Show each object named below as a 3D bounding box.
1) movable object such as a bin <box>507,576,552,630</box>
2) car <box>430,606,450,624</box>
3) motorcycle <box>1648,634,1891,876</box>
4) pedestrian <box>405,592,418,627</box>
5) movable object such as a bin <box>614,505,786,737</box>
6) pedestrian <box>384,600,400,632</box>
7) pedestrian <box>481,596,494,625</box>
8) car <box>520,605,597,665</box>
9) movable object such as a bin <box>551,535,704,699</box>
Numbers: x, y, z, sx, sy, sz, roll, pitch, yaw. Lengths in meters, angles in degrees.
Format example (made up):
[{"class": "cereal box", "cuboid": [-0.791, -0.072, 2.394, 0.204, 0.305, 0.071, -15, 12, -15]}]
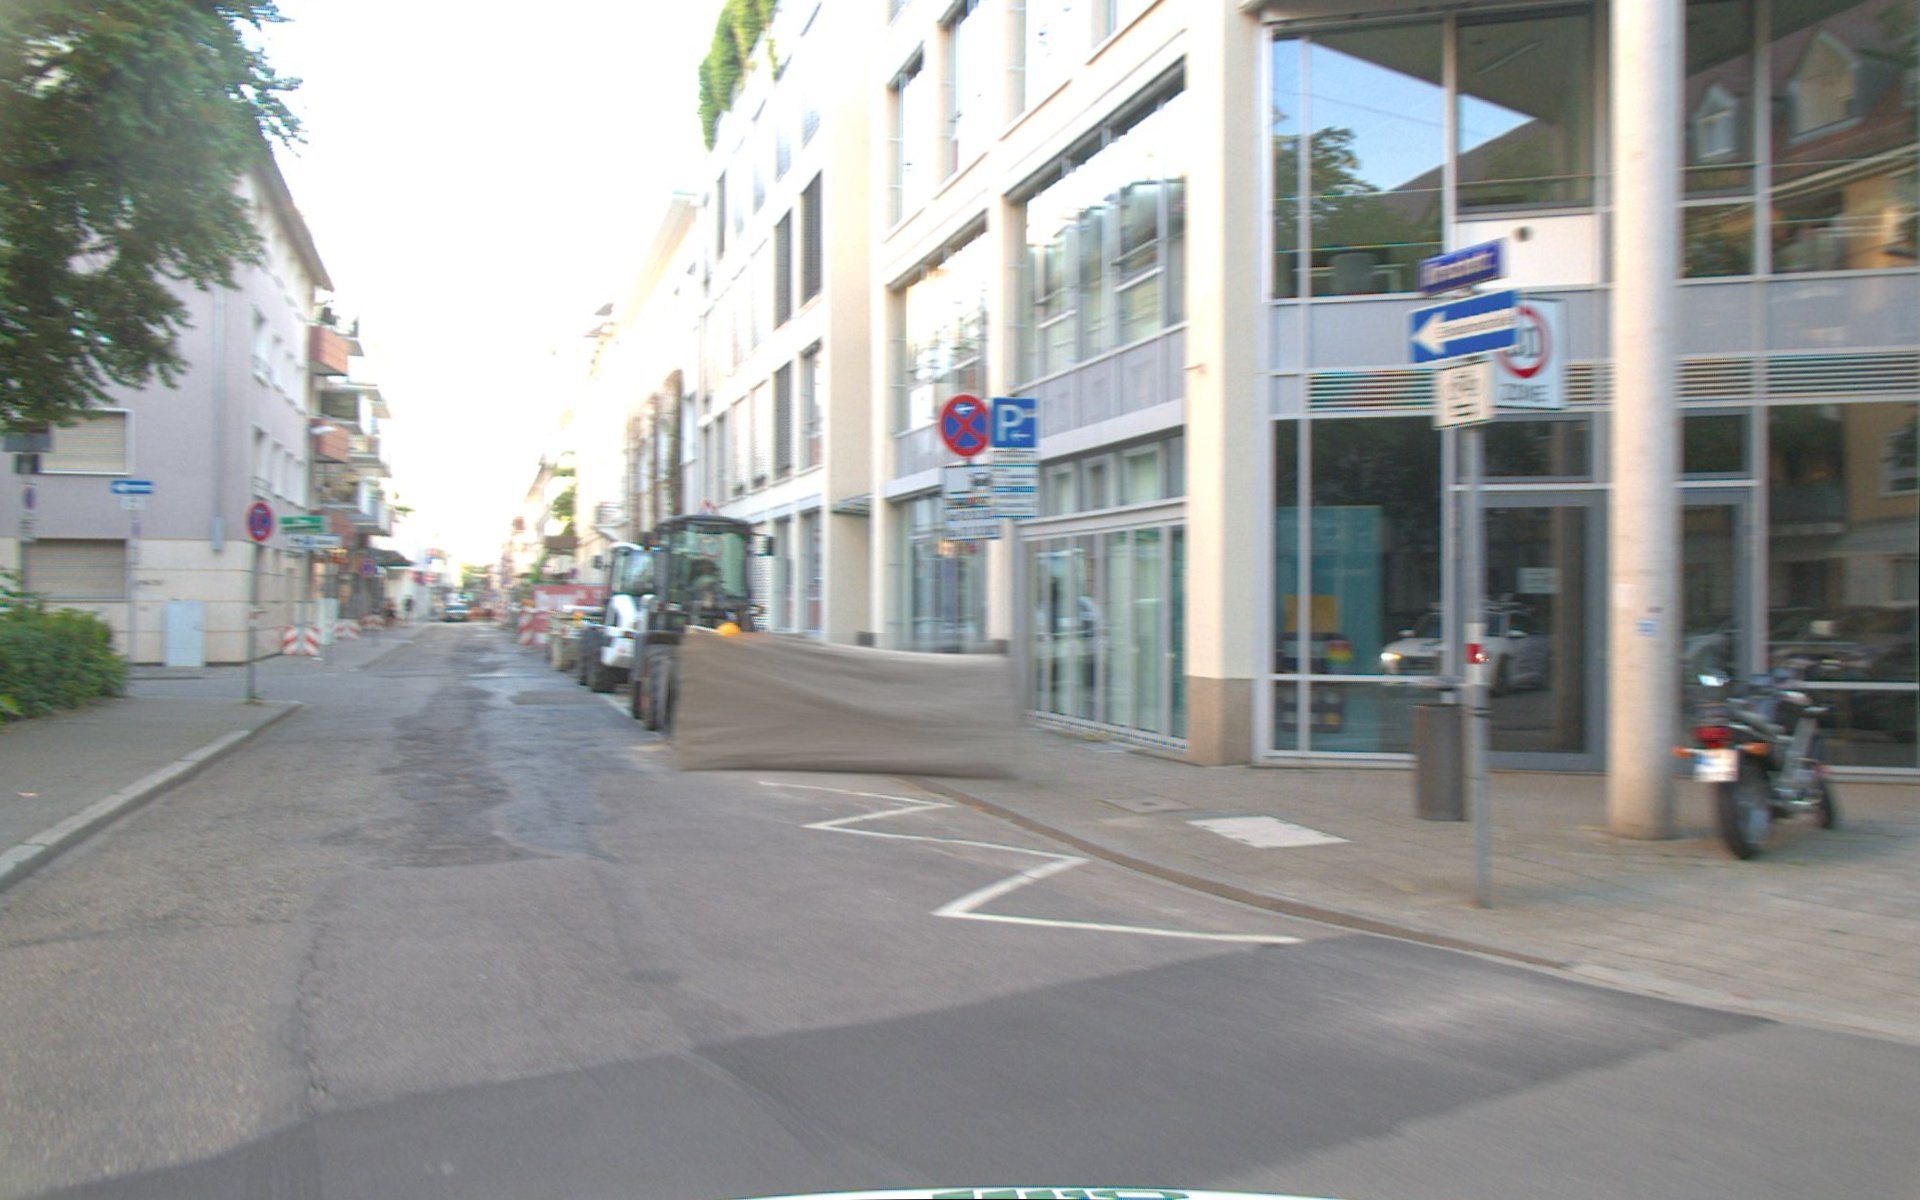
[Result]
[{"class": "movable object such as a bin", "cuboid": [-26.155, 0.163, 100.440, 2.431, 3.185, 4.277, 1, 1, -17]}, {"class": "car", "cuboid": [-40.410, 1.169, 128.632, 1.451, 1.422, 3.316, 0, 0, -17]}, {"class": "motorcycle", "cuboid": [5.076, 0.899, 10.302, 2.107, 1.296, 0.607, -1, 1, -41]}, {"class": "pedestrian", "cuboid": [-29.884, 0.524, 90.154, 0.643, 1.919, 0.571, 0, 0, -16]}, {"class": "movable object such as a bin", "cuboid": [-3.442, 0.244, 21.338, 1.767, 2.680, 4.094, 0, 0, -15]}, {"class": "pedestrian", "cuboid": [-28.058, 0.793, 81.677, 0.639, 1.592, 0.624, 0, 0, -32]}, {"class": "pedestrian", "cuboid": [-29.417, 0.650, 103.015, 0.709, 1.770, 0.644, 0, 0, -20]}, {"class": "car", "cuboid": [-10.463, 0.877, 42.916, 1.666, 1.431, 4.458, 1, 0, -17]}, {"class": "movable object such as a bin", "cuboid": [-6.056, 0.280, 29.598, 2.132, 2.641, 5.516, 1, 0, -17]}]
